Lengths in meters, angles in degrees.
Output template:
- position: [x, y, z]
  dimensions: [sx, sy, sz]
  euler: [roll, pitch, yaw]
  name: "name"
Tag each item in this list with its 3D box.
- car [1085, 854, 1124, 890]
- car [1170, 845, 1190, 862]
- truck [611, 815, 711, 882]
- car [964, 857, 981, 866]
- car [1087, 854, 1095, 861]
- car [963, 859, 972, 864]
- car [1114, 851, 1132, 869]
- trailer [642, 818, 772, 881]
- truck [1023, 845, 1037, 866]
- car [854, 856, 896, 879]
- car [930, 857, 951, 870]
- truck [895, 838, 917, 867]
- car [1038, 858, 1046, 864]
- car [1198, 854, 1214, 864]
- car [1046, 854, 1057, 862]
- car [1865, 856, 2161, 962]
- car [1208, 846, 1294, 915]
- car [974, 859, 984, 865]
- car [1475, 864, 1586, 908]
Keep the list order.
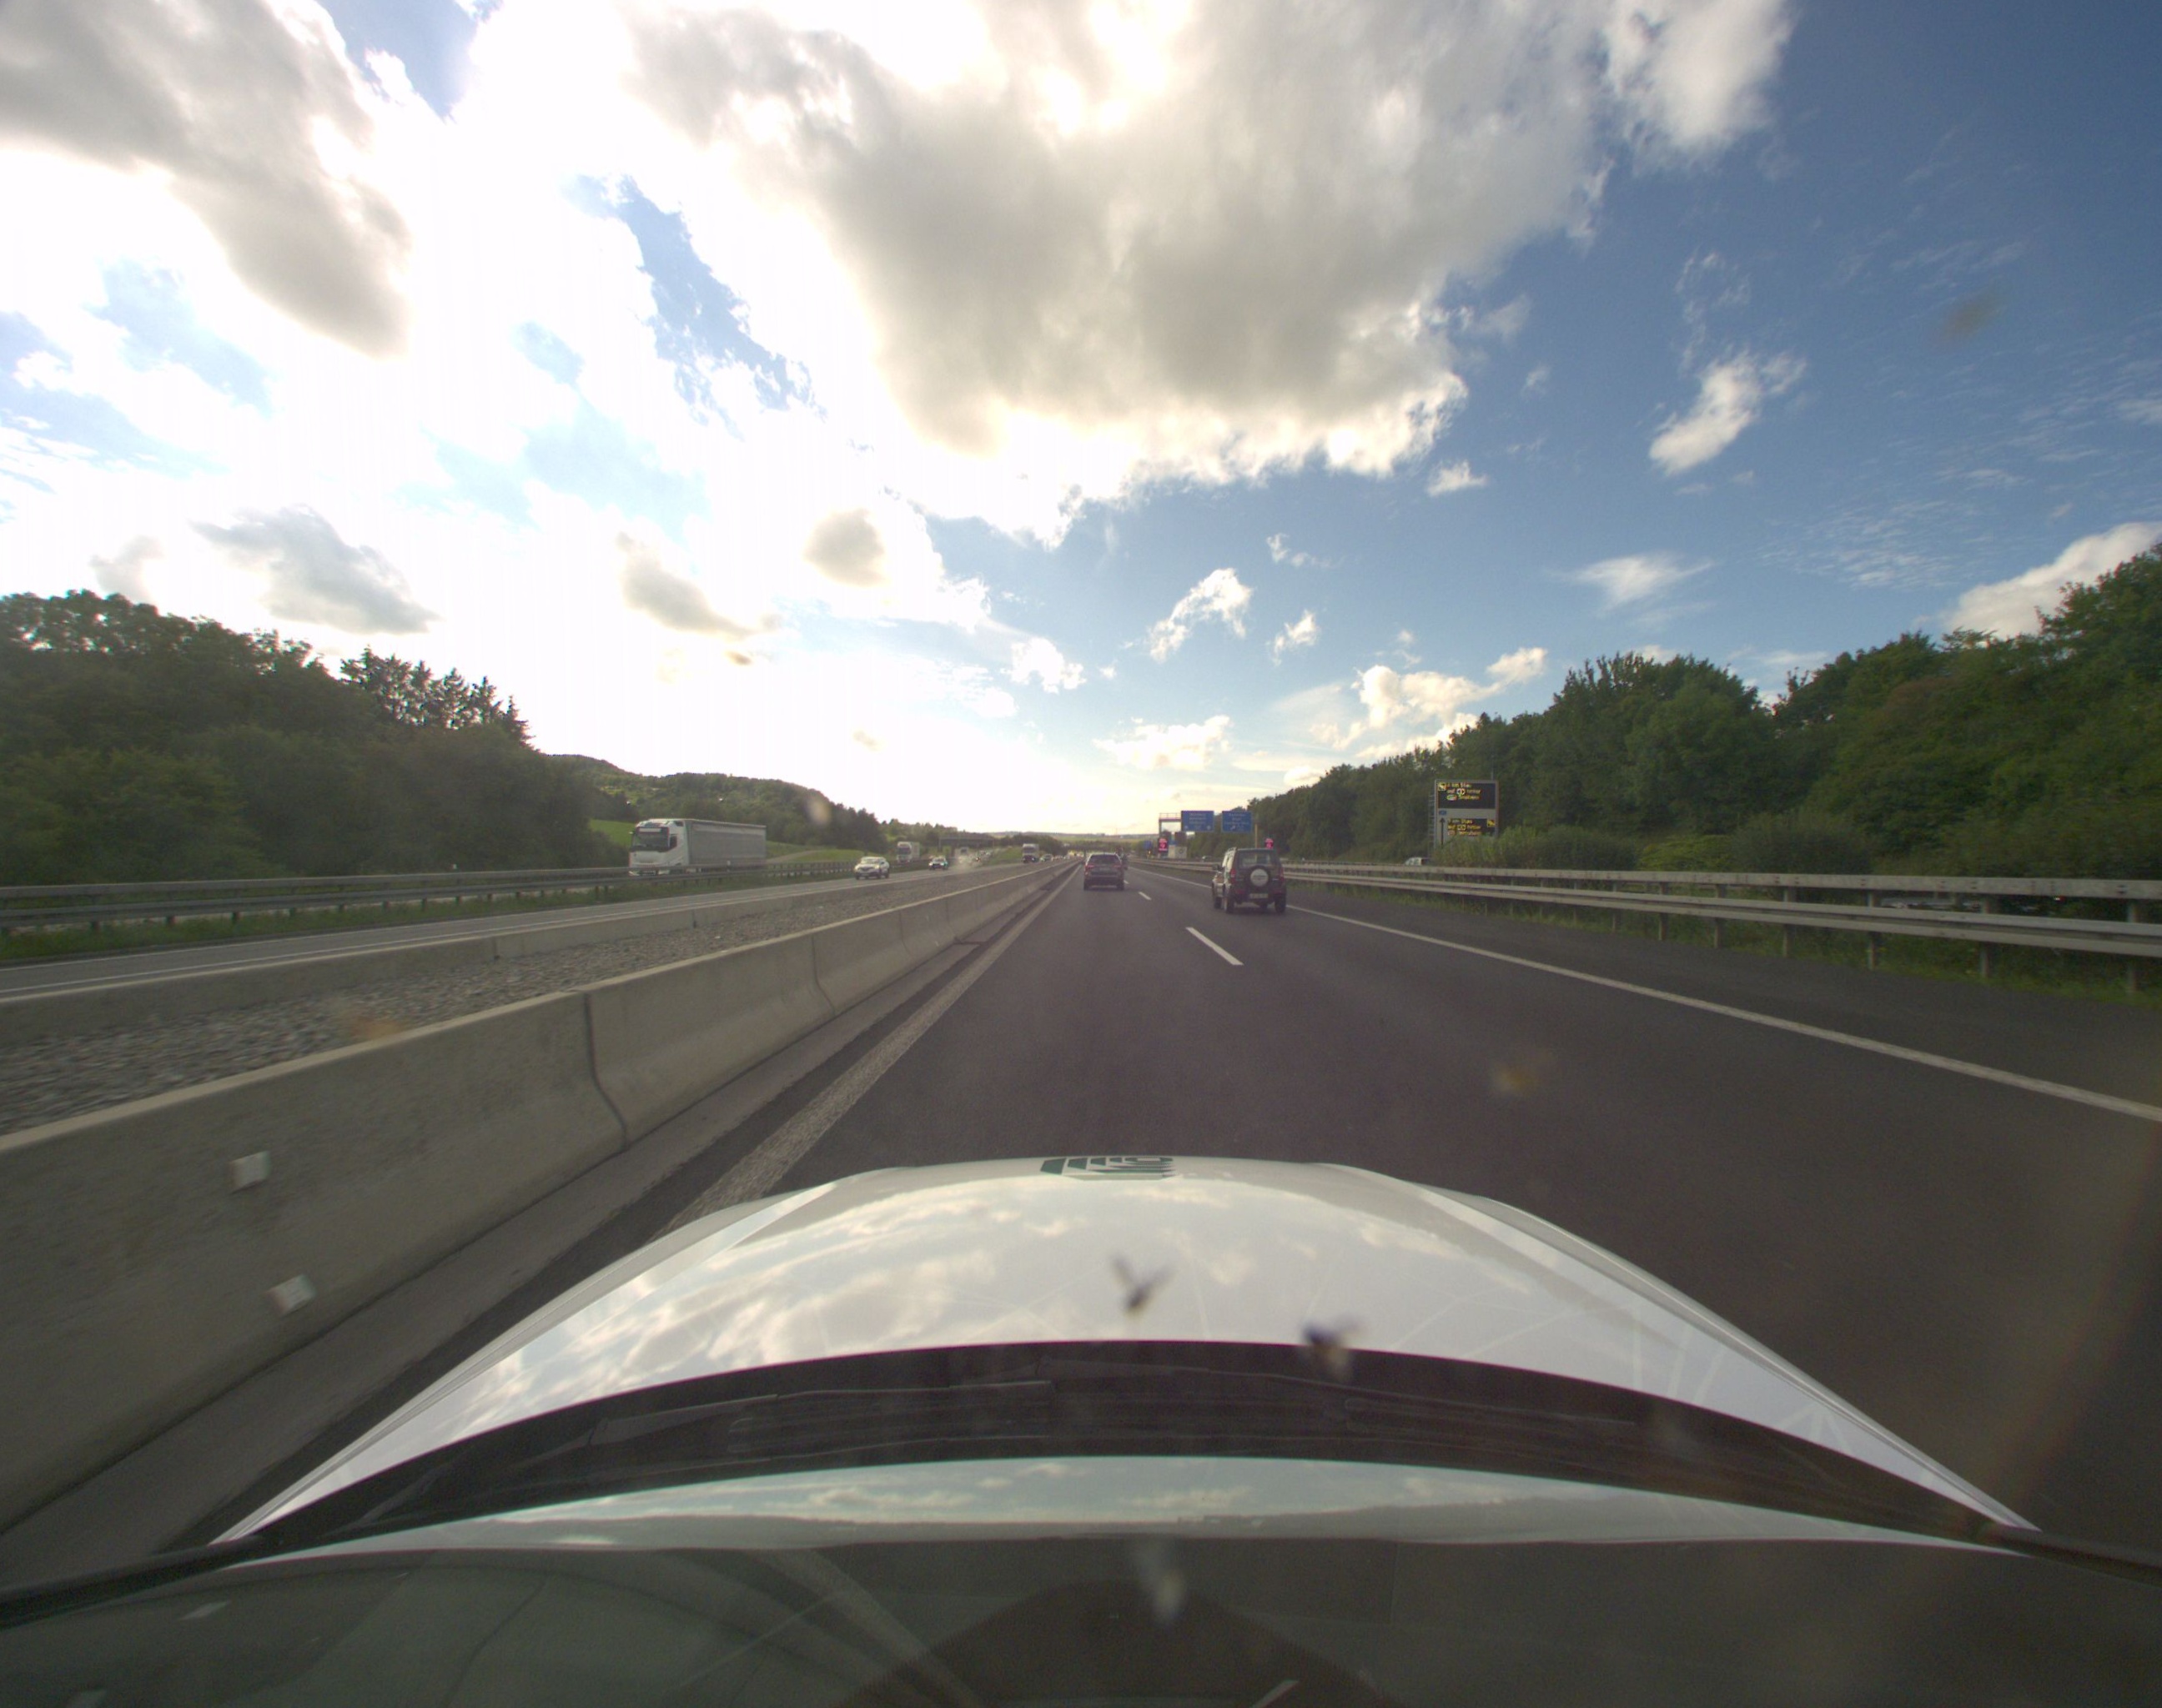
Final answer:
- position: [1.116, 0.820, 38.187]
  dimensions: [1.743, 1.630, 3.610]
  euler: [0, -1, 2]
  name: "car"
- position: [21.931, -0.120, 180.401]
  dimensions: [3.564, 3.677, 7.548]
  euler: [0, -1, 0]
  name: "car"
- position: [-26.733, -0.310, 52.217]
  dimensions: [3.141, 4.066, 6.287]
  euler: [0, -1, 0]
  name: "truck"
- position: [-17.265, 1.214, 129.625]
  dimensions: [1.936, 1.494, 5.306]
  euler: [0, 0, 0]
  name: "car"
- position: [2.763, 0.968, 223.615]
  dimensions: [2.161, 1.843, 4.001]
  euler: [0, -1, 2]
  name: "car"
- position: [-32.911, 2.209, 236.348]
  dimensions: [1.936, 1.494, 4.128]
  euler: [0, -1, 0]
  name: "car"
- position: [5.107, 0.697, 98.991]
  dimensions: [1.987, 2.081, 4.000]
  euler: [0, -1, 0]
  name: "car"
- position: [-26.673, -0.244, 59.256]
  dimensions: [3.141, 4.093, 13.386]
  euler: [0, -1, 1]
  name: "trailer"
- position: [-10.573, 0.299, 168.645]
  dimensions: [2.480, 4.129, 5.298]
  euler: [0, -1, 0]
  name: "truck"
- position: [-15.391, 1.012, 60.954]
  dimensions: [1.791, 1.630, 4.755]
  euler: [0, -1, 2]
  name: "car"
- position: [-16.733, 1.142, 97.377]
  dimensions: [1.640, 1.494, 4.997]
  euler: [0, -1, 0]
  name: "car"
- position: [-31.837, -0.189, 148.005]
  dimensions: [3.020, 5.142, 6.619]
  euler: [0, -1, -4]
  name: "truck"
- position: [-10.301, 1.829, 215.053]
  dimensions: [1.987, 1.618, 5.002]
  euler: [0, -1, 1]
  name: "car"
- position: [20.604, 0.809, 134.007]
  dimensions: [1.987, 1.717, 4.000]
  euler: [0, -1, 0]
  name: "car"
- position: [-5.671, 0.804, 155.694]
  dimensions: [1.841, 1.494, 4.972]
  euler: [0, -1, 0]
  name: "car"
- position: [16.047, 0.799, 13.499]
  dimensions: [1.987, 1.484, 4.309]
  euler: [1, 0, -1]
  name: "car"
- position: [4.652, 0.699, 22.796]
  dimensions: [1.660, 1.732, 4.208]
  euler: [1, 0, 2]
  name: "car"
- position: [-25.897, 1.913, 206.700]
  dimensions: [1.936, 1.494, 4.128]
  euler: [0, -1, 0]
  name: "car"
- position: [16.953, 1.163, 30.956]
  dimensions: [1.987, 1.484, 3.998]
  euler: [1, -1, -1]
  name: "car"
